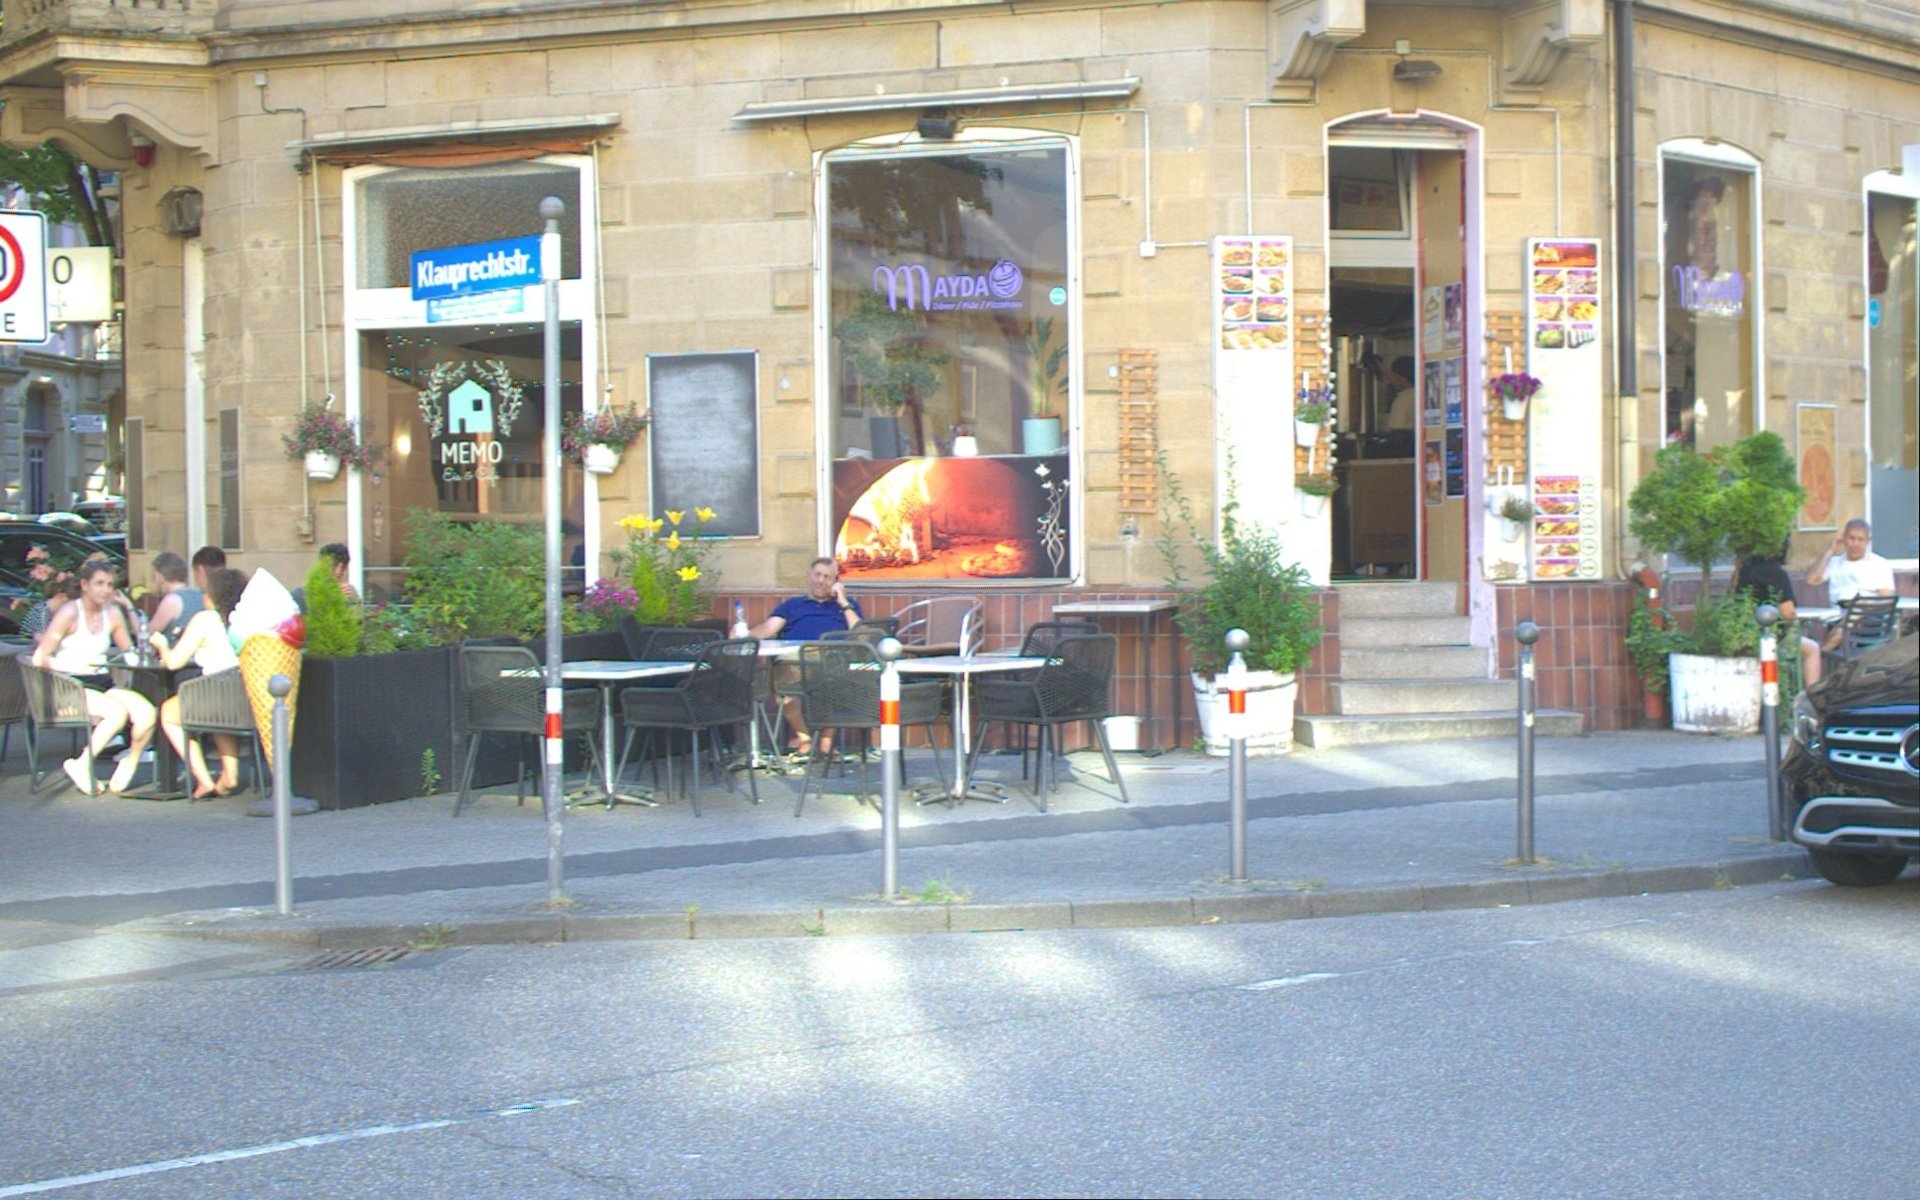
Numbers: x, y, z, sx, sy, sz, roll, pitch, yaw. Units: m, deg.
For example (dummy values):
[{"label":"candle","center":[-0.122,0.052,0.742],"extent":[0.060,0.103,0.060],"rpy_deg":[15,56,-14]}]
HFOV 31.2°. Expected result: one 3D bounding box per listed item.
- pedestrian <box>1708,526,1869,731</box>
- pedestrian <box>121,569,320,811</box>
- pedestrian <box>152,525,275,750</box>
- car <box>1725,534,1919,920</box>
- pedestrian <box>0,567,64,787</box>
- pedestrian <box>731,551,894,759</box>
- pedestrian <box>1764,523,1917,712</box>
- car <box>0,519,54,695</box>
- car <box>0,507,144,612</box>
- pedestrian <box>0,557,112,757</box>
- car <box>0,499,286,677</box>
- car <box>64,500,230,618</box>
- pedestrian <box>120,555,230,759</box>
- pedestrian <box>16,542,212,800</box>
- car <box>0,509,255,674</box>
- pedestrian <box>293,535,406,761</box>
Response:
[{"label":"pedestrian","center":[5.209,0.167,21.610],"extent":[0.727,1.254,0.755],"rpy_deg":[0,1,38]},{"label":"pedestrian","center":[-4.064,0.479,18.917],"extent":[0.744,1.285,0.741],"rpy_deg":[0,1,30]},{"label":"pedestrian","center":[-4.843,0.238,22.315],"extent":[0.568,1.426,0.481],"rpy_deg":[0,2,29]},{"label":"car","center":[5.146,0.439,14.668],"extent":[1.763,1.482,4.128],"rpy_deg":[-1,1,44]},{"label":"pedestrian","center":[-5.860,0.442,20.003],"extent":[1.023,1.244,0.747],"rpy_deg":[0,2,37]},{"label":"pedestrian","center":[-0.878,0.321,20.587],"extent":[0.726,1.209,0.756],"rpy_deg":[0,1,21]},{"label":"pedestrian","center":[5.794,0.104,22.620],"extent":[0.727,1.209,0.755],"rpy_deg":[0,1,38]},{"label":"car","center":[-10.197,0.080,30.602],"extent":[3.823,1.556,1.803],"rpy_deg":[-1,1,-26]},{"label":"car","center":[-15.136,-0.686,57.360],"extent":[1.807,1.678,3.751],"rpy_deg":[-1,1,6]},{"label":"pedestrian","center":[-5.803,0.356,21.992],"extent":[0.481,1.244,0.509],"rpy_deg":[0,2,38]},{"label":"car","center":[-8.749,-0.131,34.215],"extent":[3.986,1.678,2.001],"rpy_deg":[-1,1,-11]},{"label":"car","center":[-14.771,-0.763,62.638],"extent":[1.807,2.077,3.751],"rpy_deg":[-1,1,6]},{"label":"pedestrian","center":[-4.913,0.351,21.512],"extent":[0.481,1.244,0.433],"rpy_deg":[0,2,38]},{"label":"pedestrian","center":[-4.764,0.386,19.376],"extent":[0.755,1.406,0.726],"rpy_deg":[0,1,28]},{"label":"car","center":[-9.720,-0.104,36.752],"extent":[3.986,1.678,2.001],"rpy_deg":[-1,1,-21]},{"label":"pedestrian","center":[-3.760,0.287,21.175],"extent":[0.481,1.362,0.433],"rpy_deg":[0,2,32]}]
